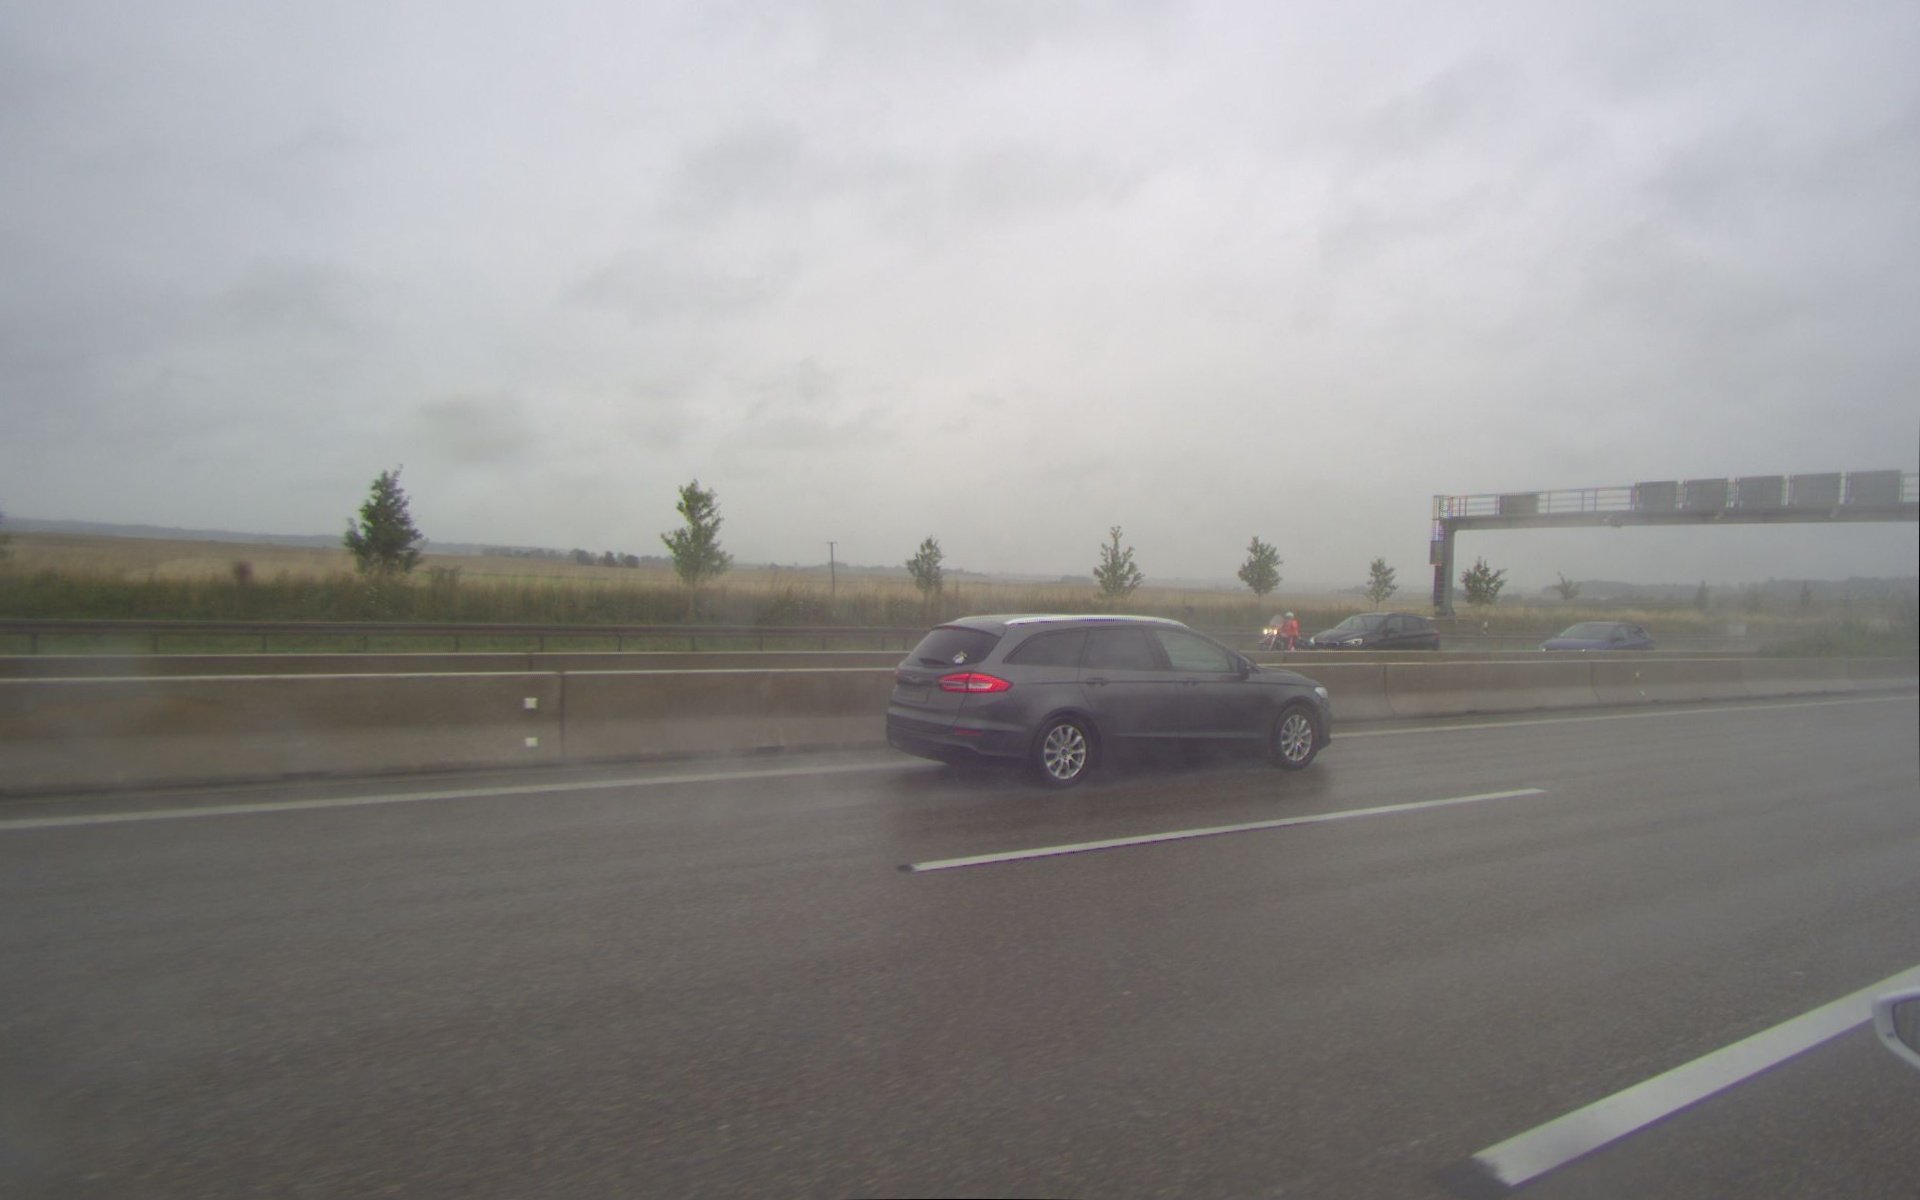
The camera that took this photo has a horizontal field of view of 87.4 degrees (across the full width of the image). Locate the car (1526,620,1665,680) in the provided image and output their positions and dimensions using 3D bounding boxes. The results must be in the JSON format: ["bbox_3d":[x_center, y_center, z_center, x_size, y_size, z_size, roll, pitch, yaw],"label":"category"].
[{"bbox_3d":[18.463,1.420,29.139,4.040,1.595,1.810,2,0,-31],"label":"car"}]

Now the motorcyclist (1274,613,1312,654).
[{"bbox_3d":[10.889,1.098,32.859,0.930,1.325,0.745,1,0,-31],"label":"motorcyclist"}]

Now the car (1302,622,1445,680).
[{"bbox_3d":[11.714,1.410,28.398,3.953,1.506,1.687,2,0,-30],"label":"car"}]

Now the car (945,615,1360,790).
[{"bbox_3d":[1.957,0.883,9.804,3.956,1.372,1.603,2,0,-33],"label":"car"}]

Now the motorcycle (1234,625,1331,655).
[{"bbox_3d":[10.516,1.295,32.665,3.503,0.925,0.914,2,0,-30],"label":"motorcycle"}]
